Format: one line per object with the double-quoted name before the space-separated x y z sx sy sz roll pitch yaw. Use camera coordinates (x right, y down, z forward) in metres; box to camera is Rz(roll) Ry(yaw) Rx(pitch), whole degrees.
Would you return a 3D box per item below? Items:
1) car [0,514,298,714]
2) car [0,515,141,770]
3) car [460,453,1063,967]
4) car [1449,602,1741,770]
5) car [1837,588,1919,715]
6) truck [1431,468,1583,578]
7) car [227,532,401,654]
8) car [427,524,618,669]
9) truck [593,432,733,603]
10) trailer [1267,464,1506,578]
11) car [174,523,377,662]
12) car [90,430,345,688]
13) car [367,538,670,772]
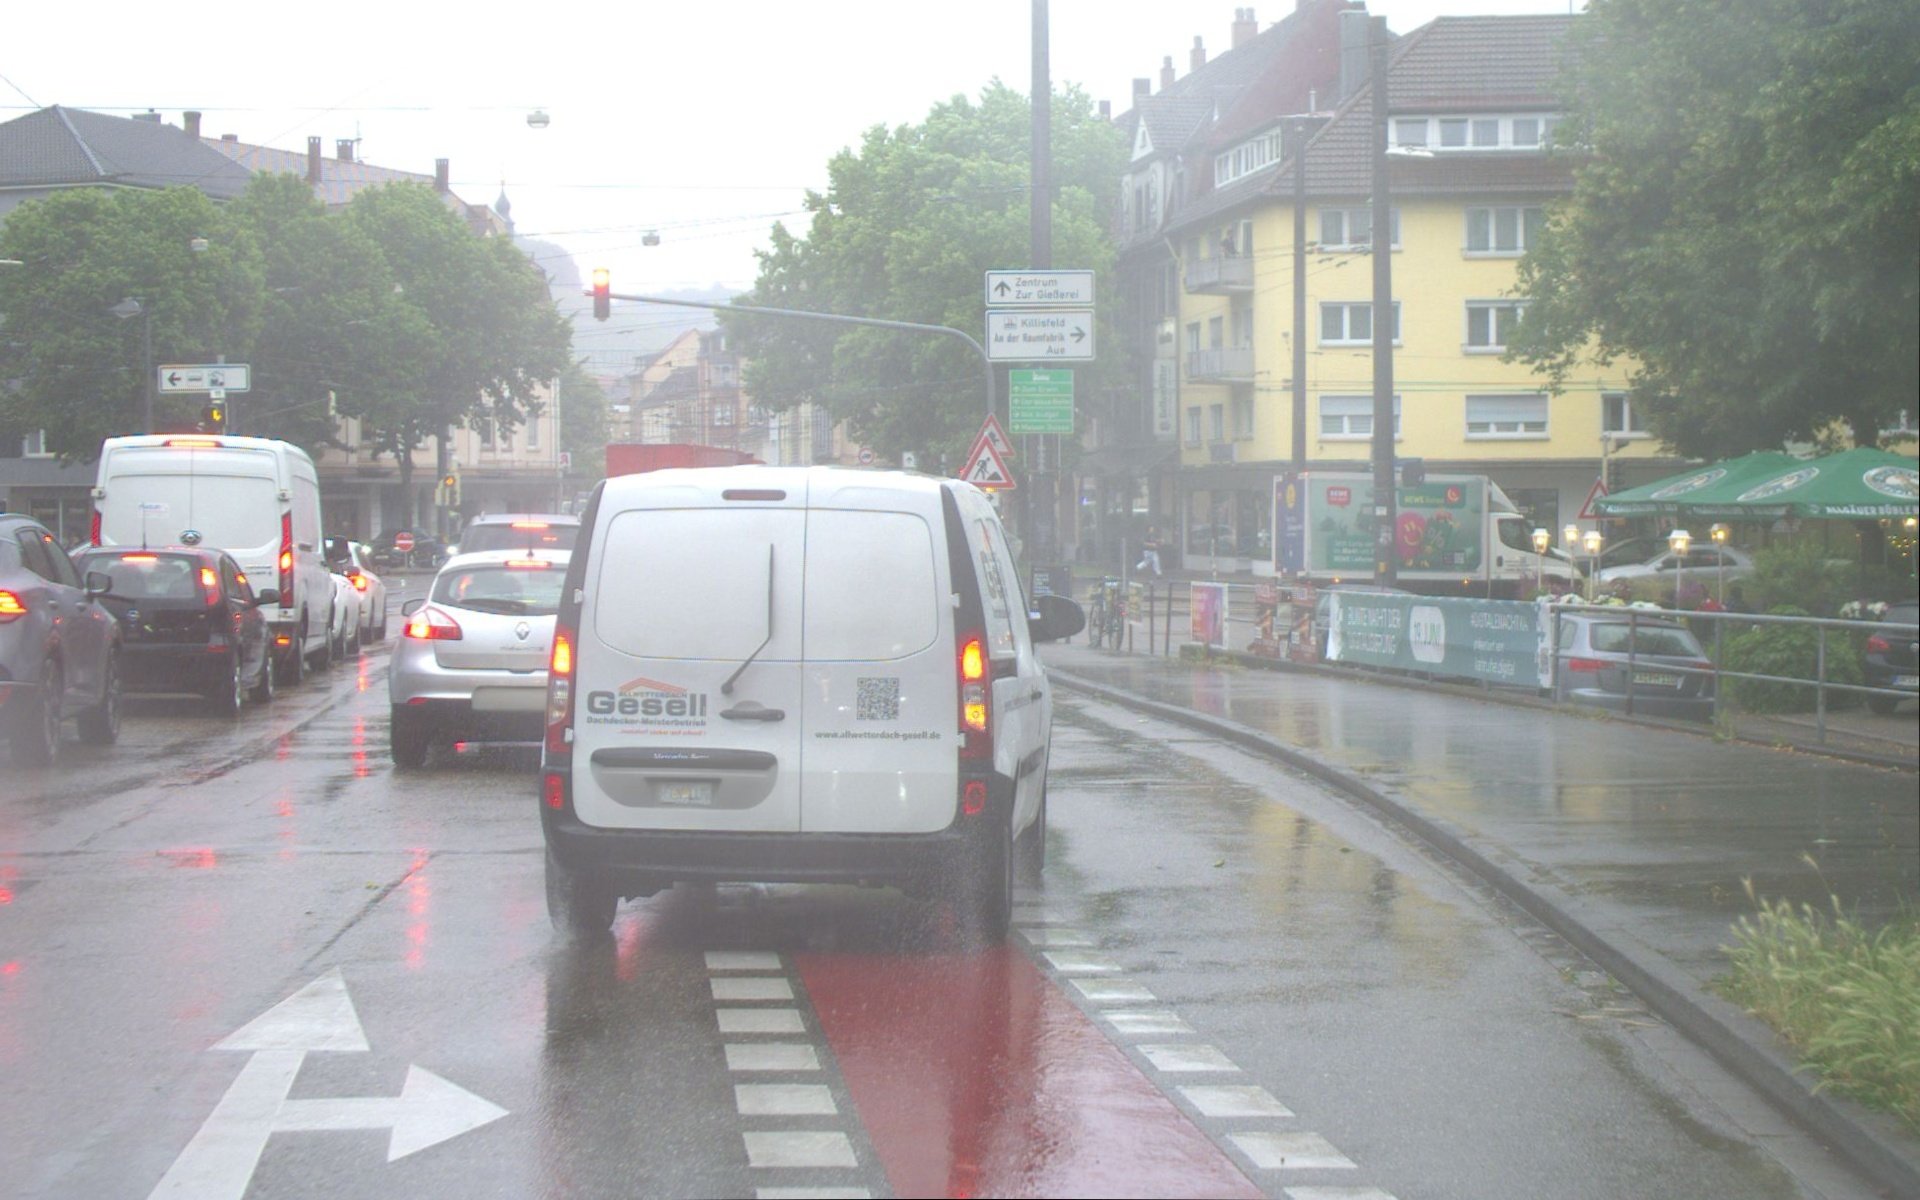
"car" -7.031 0.093 30.103 1.993 1.573 4.293 2 0 -5
"car" -6.901 0.216 23.357 1.993 1.573 4.293 2 0 -5
"car" -0.646 0.383 13.815 1.959 1.771 3.569 1 0 4
"car" 6.607 0.850 36.239 1.822 1.485 4.354 -1 2 -6
"car" 13.019 0.603 43.963 1.889 1.473 3.991 0 2 41
"truck" 11.772 -1.634 74.060 2.639 2.291 2.001 1 0 -13
"car" -9.147 -0.119 49.028 1.993 1.591 4.613 2 0 -5
"car" -4.700 -0.045 37.318 1.760 1.464 3.533 1 0 -3
"truck" -8.935 -2.562 104.742 3.278 4.883 11.402 -1 2 -1
"trailer" 9.103 -1.668 73.474 4.652 2.309 2.001 1 0 -13
"car" -8.479 -0.114 42.932 1.993 1.591 4.613 2 0 -5
"car" -7.600 -0.419 35.590 1.993 2.434 4.613 2 0 -5
"car" -2.958 0.343 23.645 1.760 1.464 3.533 1 0 -3
